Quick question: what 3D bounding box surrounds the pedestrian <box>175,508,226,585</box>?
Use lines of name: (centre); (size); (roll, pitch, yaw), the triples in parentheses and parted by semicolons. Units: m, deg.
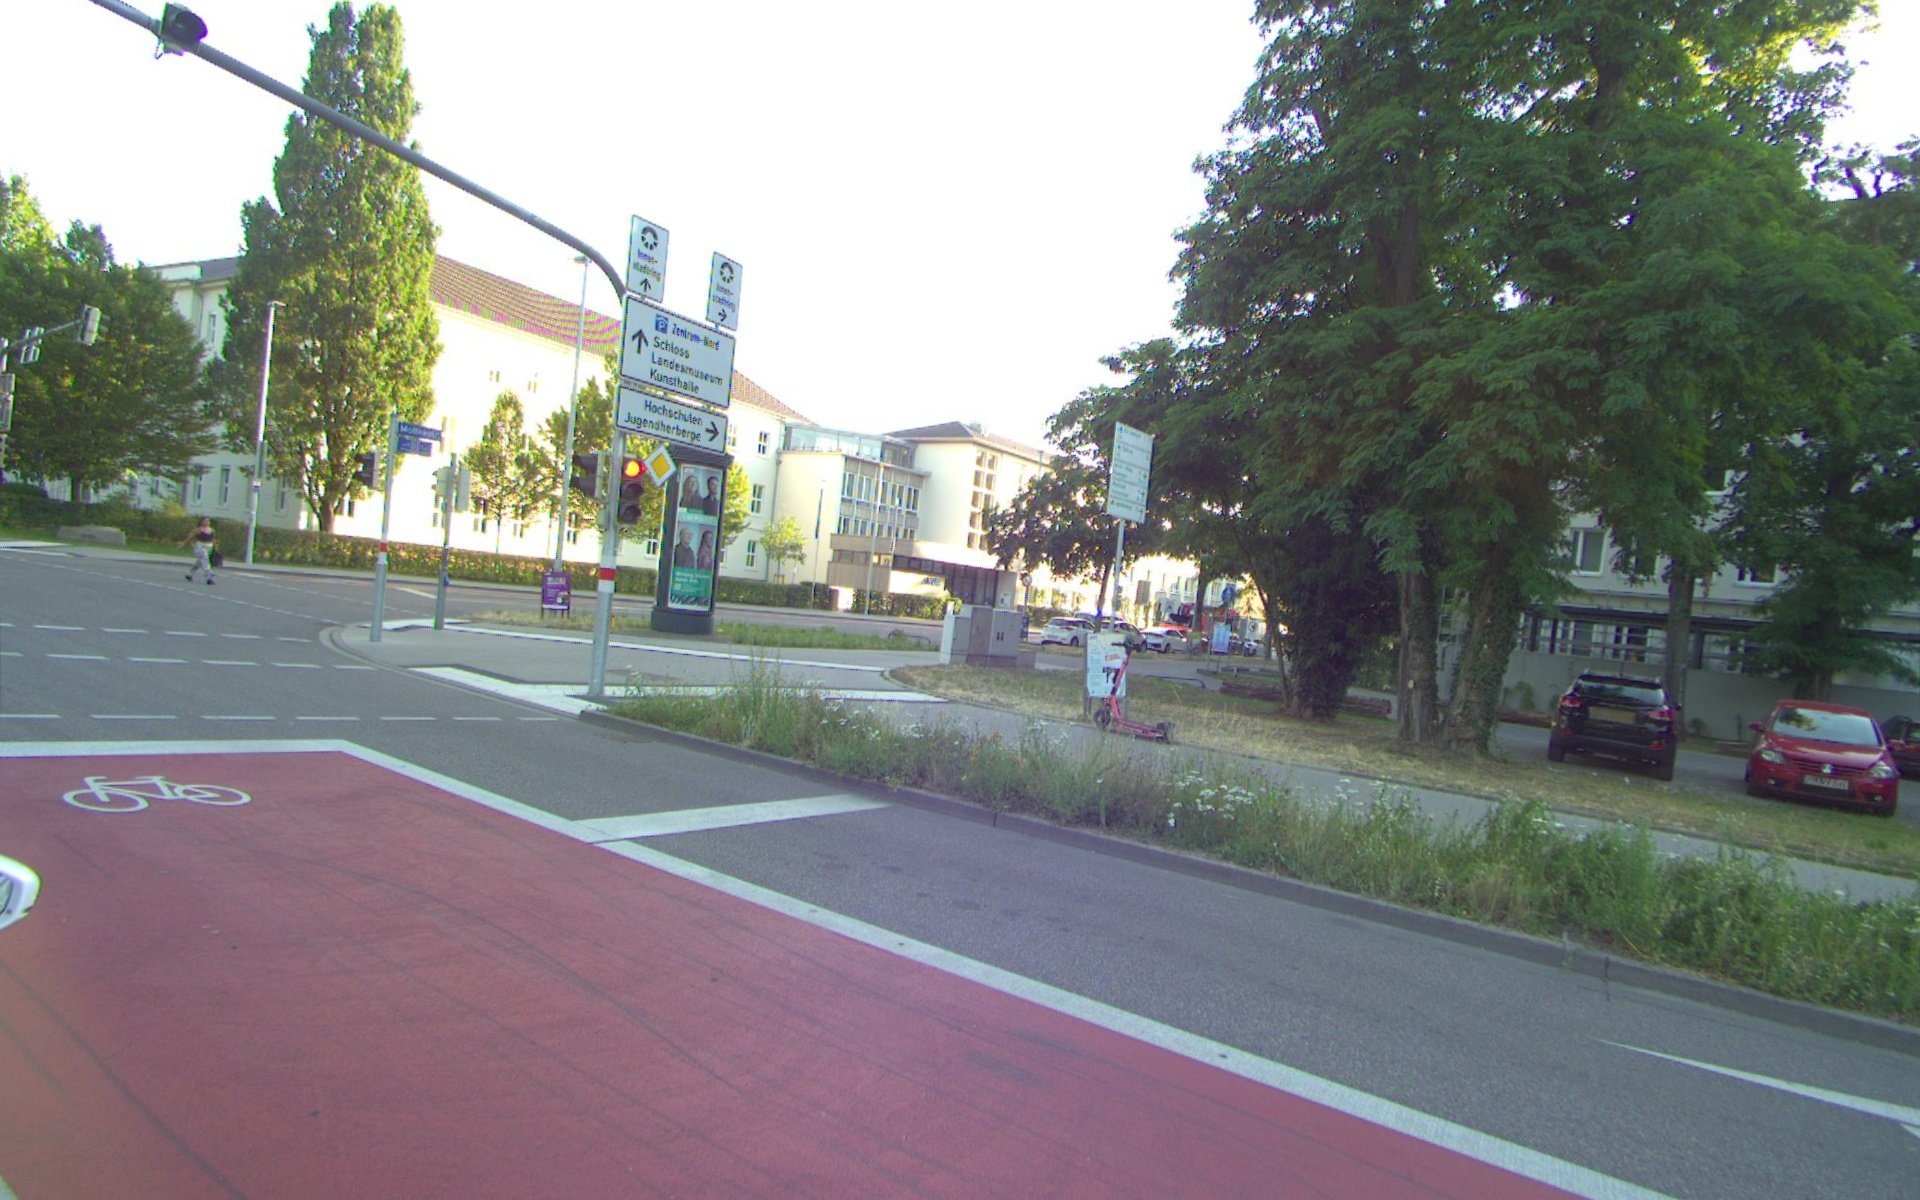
pedestrian: (-17.453, -1.227, 23.116); (0.680, 1.656, 0.600); (8, 1, 34)

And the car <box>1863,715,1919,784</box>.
car: (23.178, 3.618, 24.037); (1.873, 1.459, 3.987); (7, -1, 37)

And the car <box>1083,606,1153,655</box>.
car: (8.064, 1.578, 51.193); (1.713, 2.038, 3.988); (7, -1, 36)

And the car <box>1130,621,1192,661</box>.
car: (11.073, 2.263, 55.110); (1.720, 1.783, 3.989); (7, -1, 35)

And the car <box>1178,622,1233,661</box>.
car: (14.606, 2.489, 59.733); (1.698, 1.879, 3.989); (7, -1, 35)

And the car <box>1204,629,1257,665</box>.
car: (17.222, 3.025, 63.863); (1.789, 1.893, 4.136); (7, -1, 35)

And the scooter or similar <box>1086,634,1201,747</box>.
scooter or similar: (2.327, 1.131, 12.812); (1.289, 1.247, 0.311); (7, 1, 32)

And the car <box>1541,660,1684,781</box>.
car: (11.763, 2.106, 18.069); (1.808, 1.715, 3.899); (7, -1, 36)

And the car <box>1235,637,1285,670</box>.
car: (20.371, 3.651, 68.240); (1.873, 1.831, 3.988); (7, -1, 36)

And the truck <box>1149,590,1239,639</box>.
truck: (15.860, 1.055, 67.468); (2.327, 2.315, 10.049); (7, -1, 34)

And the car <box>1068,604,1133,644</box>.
car: (7.752, 1.359, 55.281); (1.720, 1.783, 3.989); (7, -1, 35)

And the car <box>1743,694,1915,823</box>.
car: (13.992, 2.450, 16.407); (1.759, 1.581, 3.984); (7, 0, 38)

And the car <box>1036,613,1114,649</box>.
car: (5.477, 1.485, 47.712); (1.793, 1.358, 3.985); (6, 0, 37)
